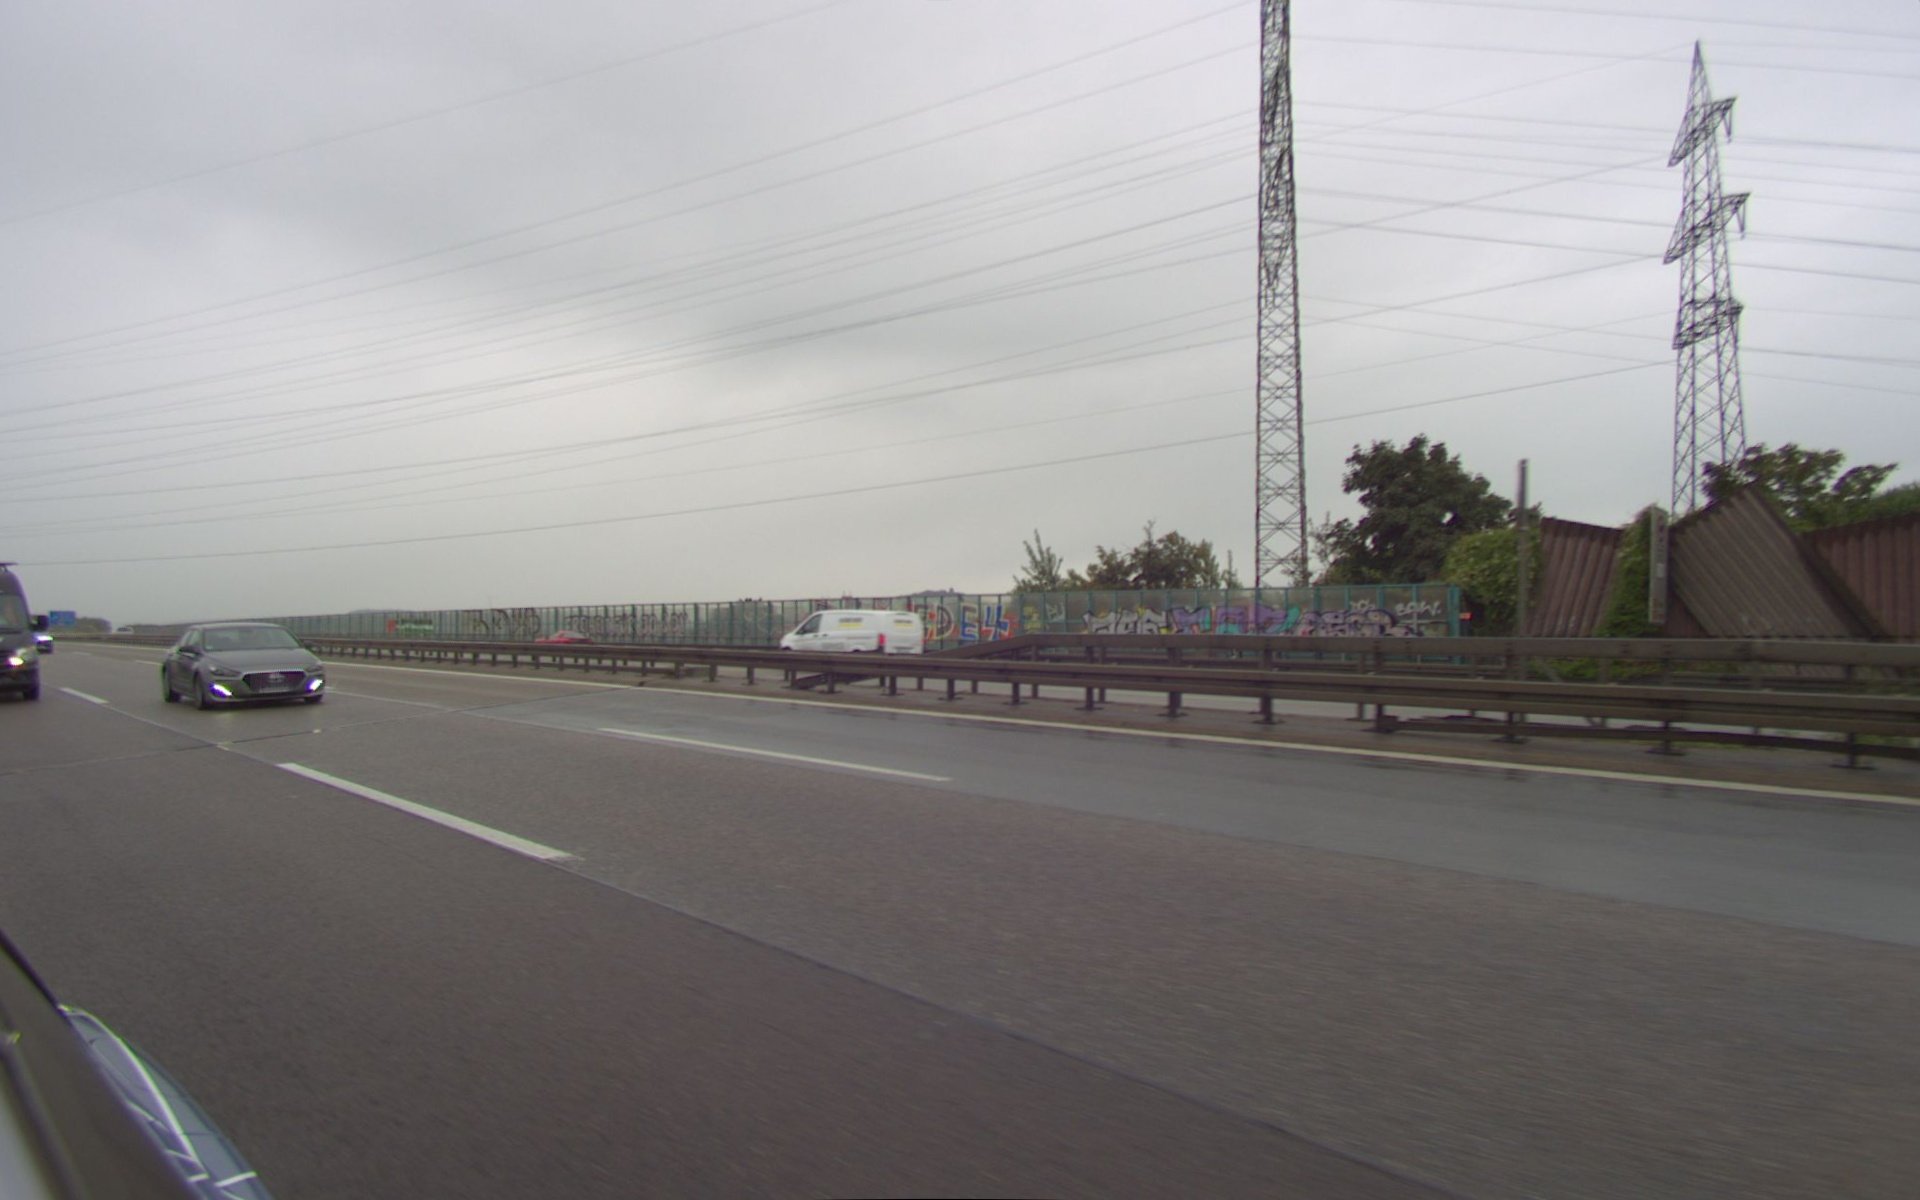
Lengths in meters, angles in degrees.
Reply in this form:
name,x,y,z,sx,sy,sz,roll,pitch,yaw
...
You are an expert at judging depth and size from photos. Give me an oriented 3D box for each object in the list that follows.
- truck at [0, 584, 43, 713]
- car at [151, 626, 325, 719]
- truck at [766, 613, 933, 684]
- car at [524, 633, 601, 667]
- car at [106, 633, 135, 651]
name,x,y,z,sx,sy,sz,roll,pitch,yaw
truck,-20.013,0.906,20.206,6.111,2.355,1.972,-1,-1,43
car,-13.001,1.248,18.088,4.830,1.413,1.706,-3,-2,44
truck,-3.379,1.406,30.254,5.248,1.945,1.972,-2,-2,42
car,-22.698,2.811,57.708,5.104,1.797,1.973,-2,-2,41
car,-102.369,5.060,123.329,5.009,2.029,1.973,-1,0,41
